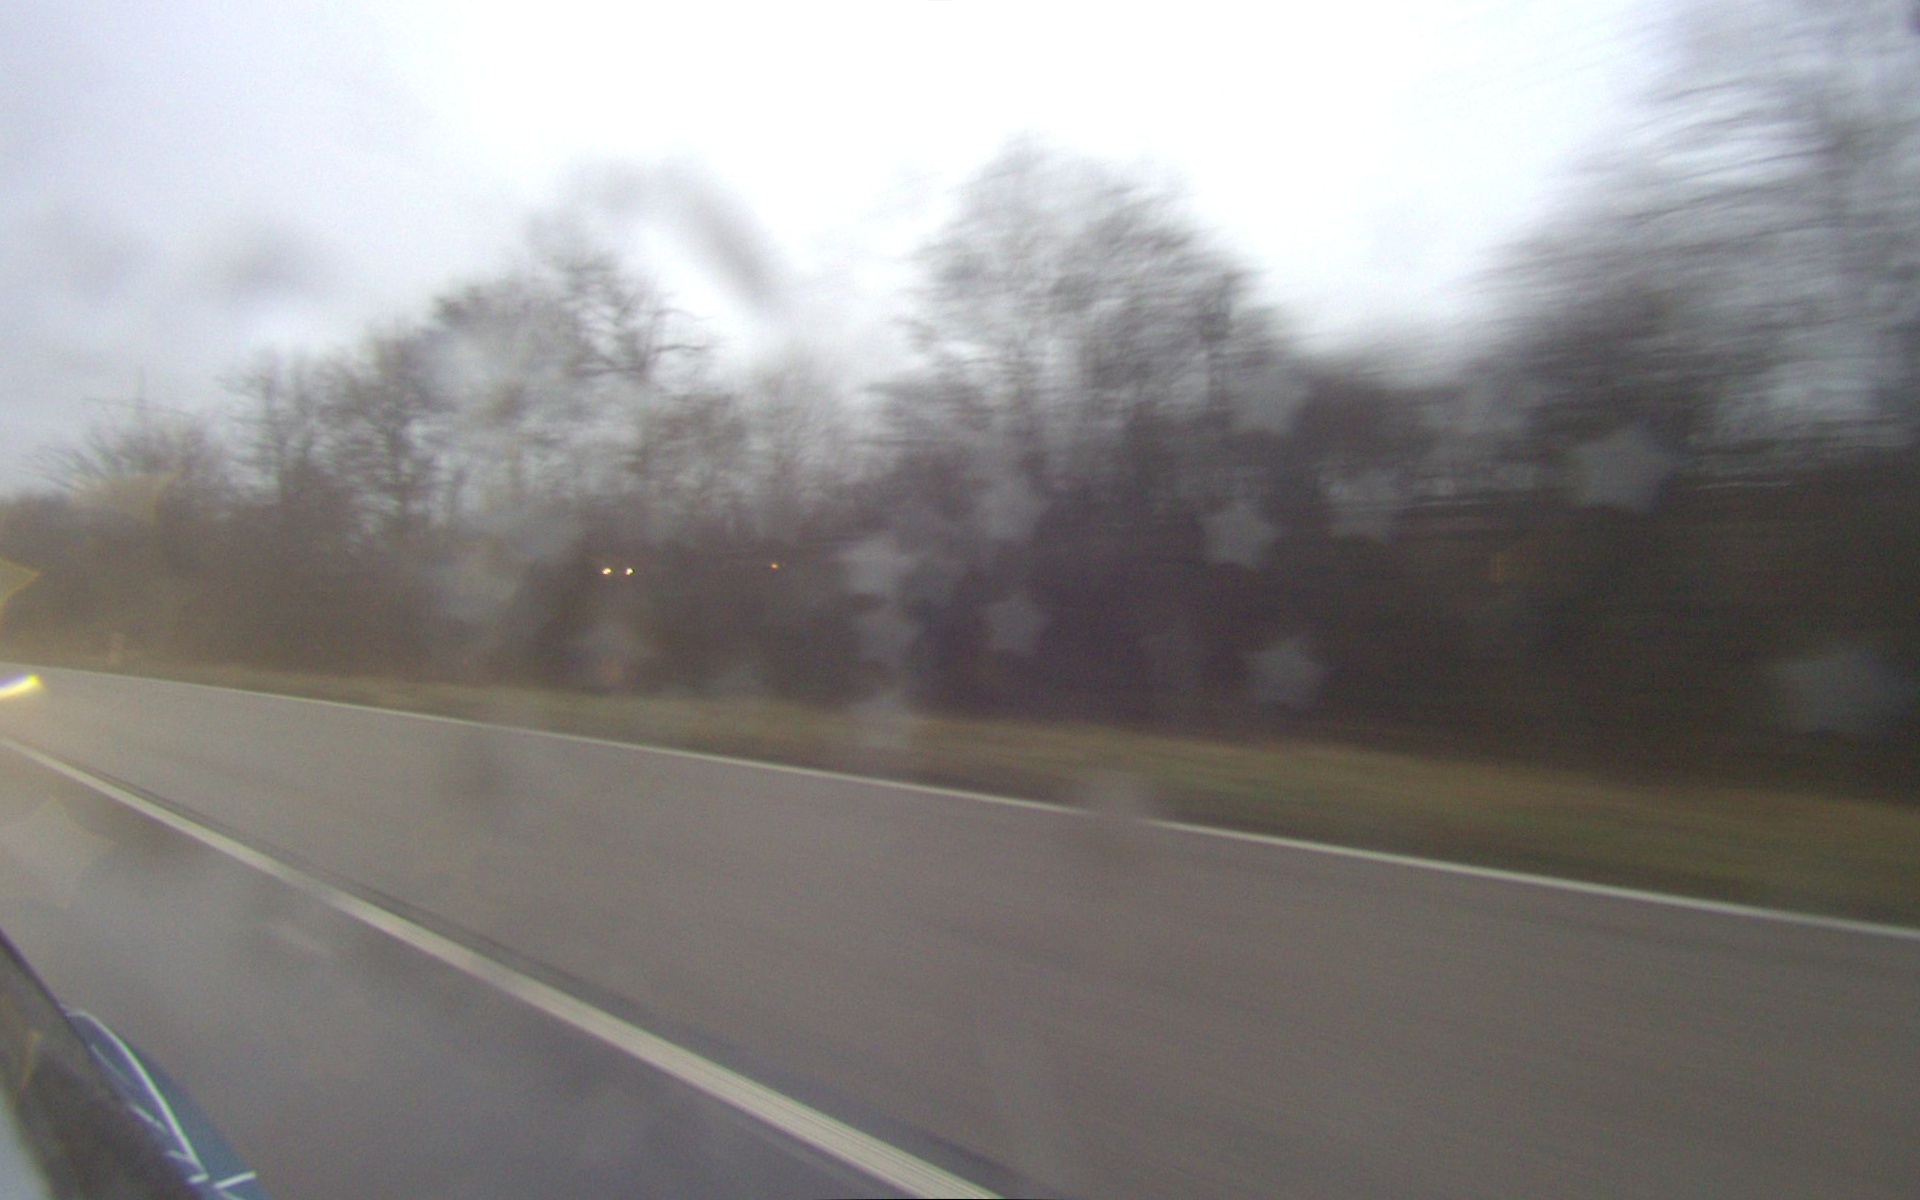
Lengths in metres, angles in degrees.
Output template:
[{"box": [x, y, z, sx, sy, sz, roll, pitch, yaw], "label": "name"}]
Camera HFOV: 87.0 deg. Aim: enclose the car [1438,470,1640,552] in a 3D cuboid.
[{"box": [13.605, -2.018, 23.852, 3.937, 1.646, 1.768, -1, 2, 38], "label": "car"}]
